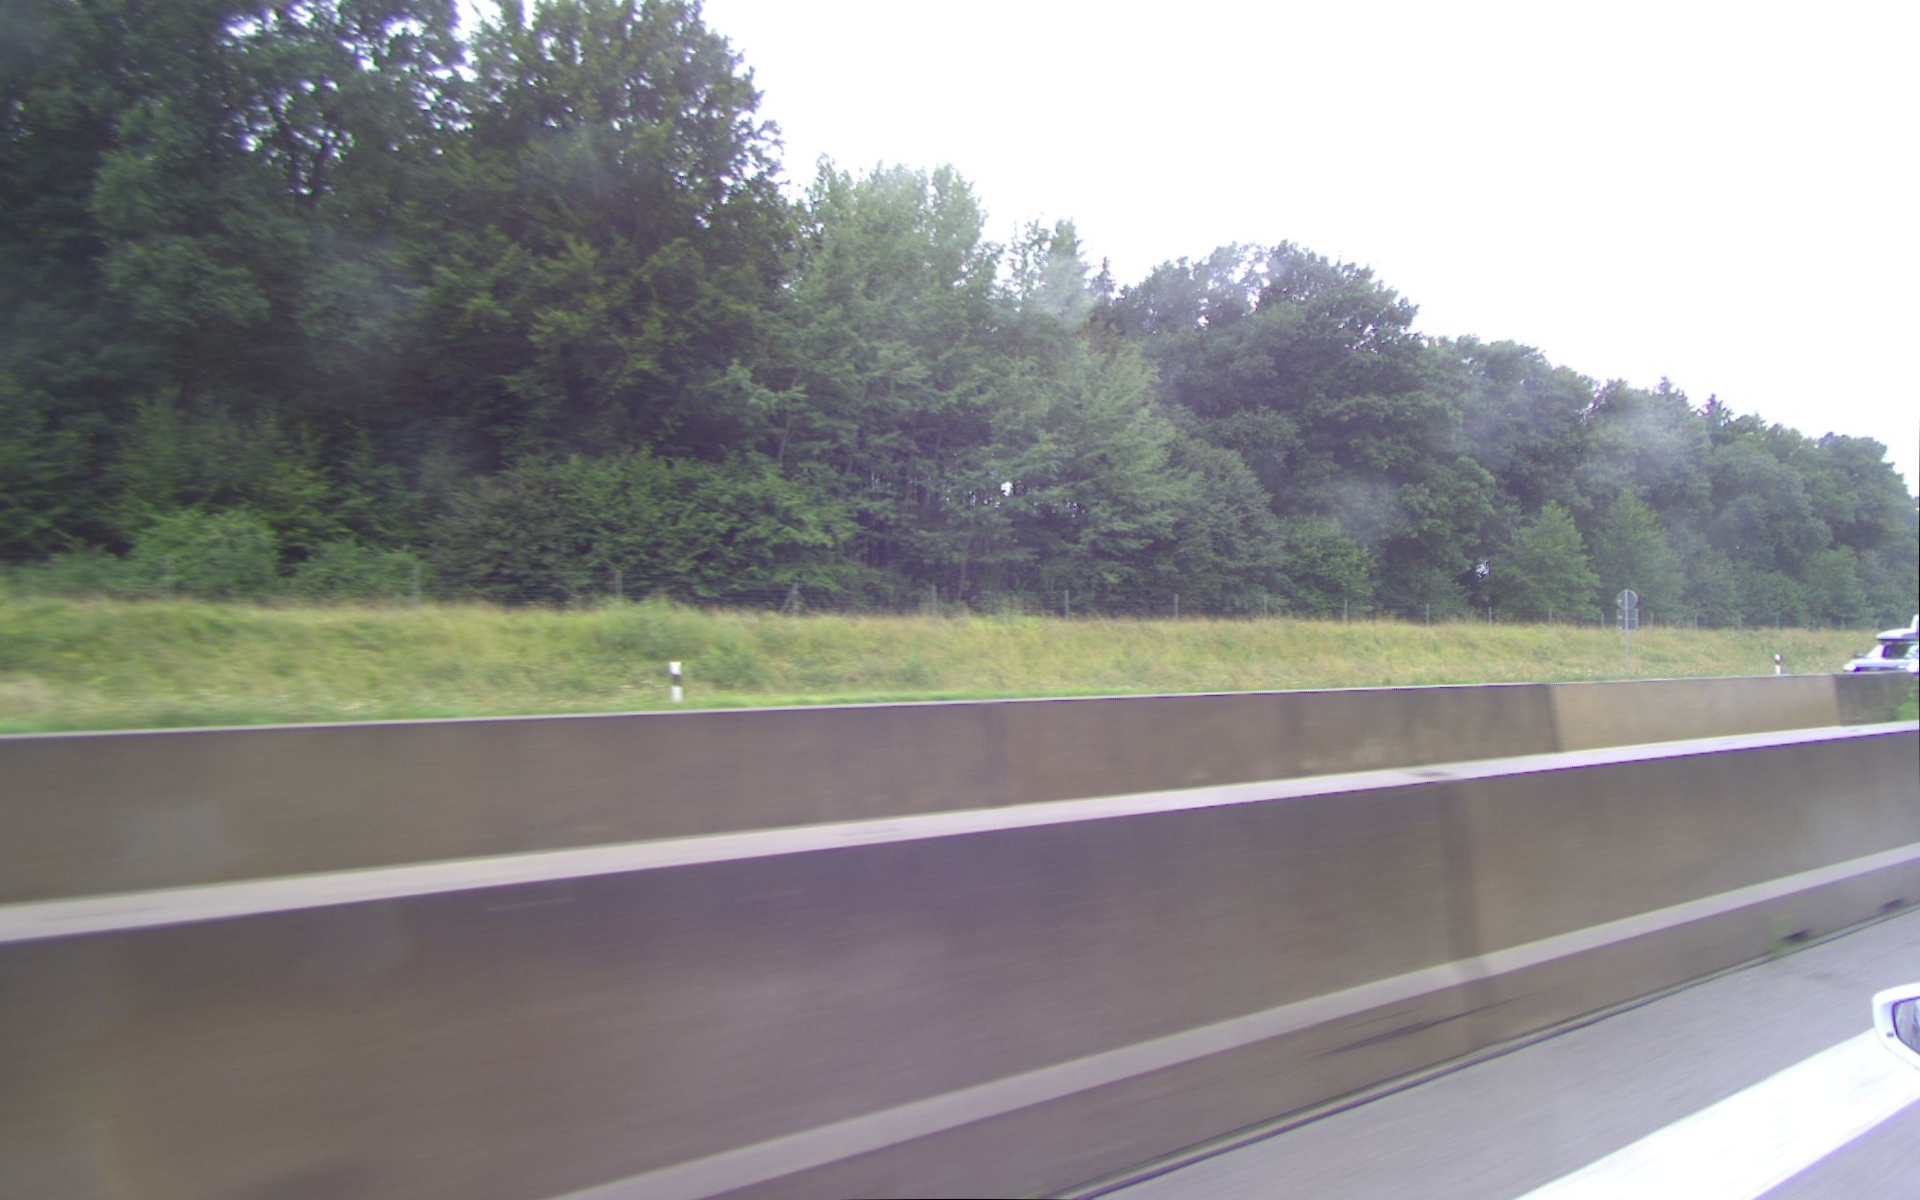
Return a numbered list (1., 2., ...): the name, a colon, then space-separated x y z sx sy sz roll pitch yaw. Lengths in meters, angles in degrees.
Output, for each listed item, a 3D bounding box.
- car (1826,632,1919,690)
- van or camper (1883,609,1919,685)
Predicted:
1. car: 29.161 1.896 31.099 5.348 1.665 1.984 2 -3 -31
2. van or camper: 33.971 1.613 34.002 5.851 2.461 2.489 2 -2 -31
